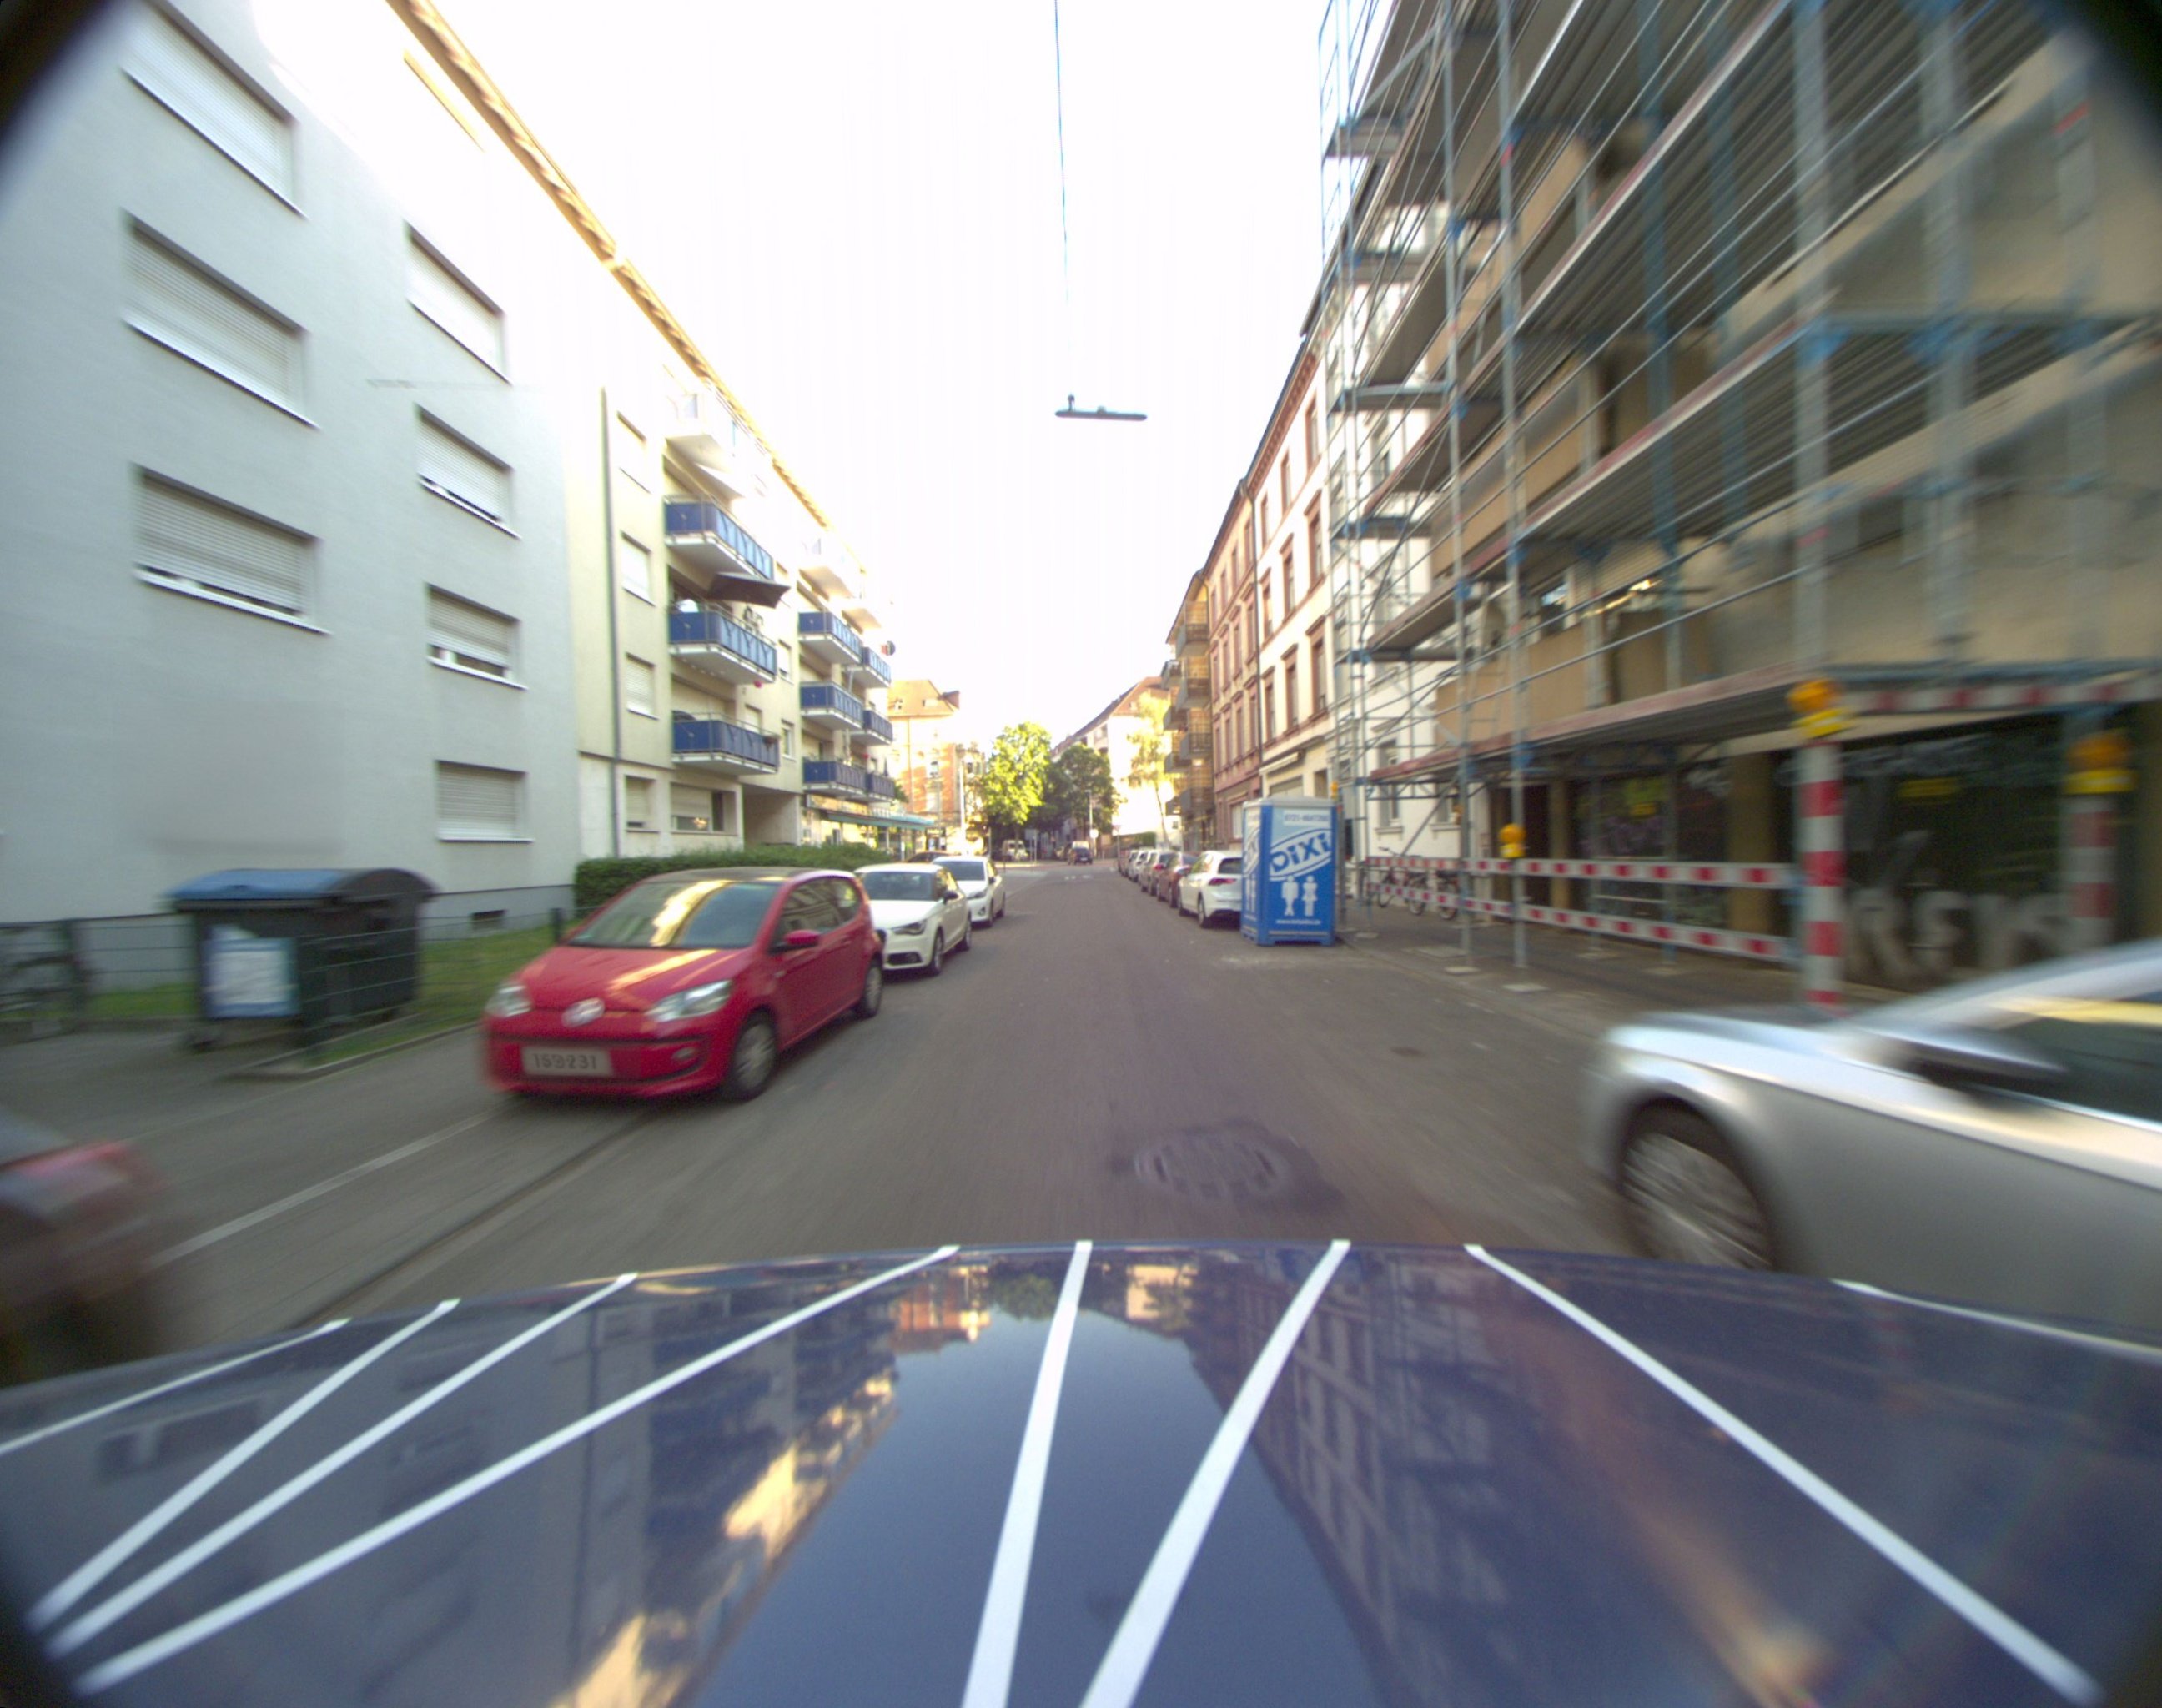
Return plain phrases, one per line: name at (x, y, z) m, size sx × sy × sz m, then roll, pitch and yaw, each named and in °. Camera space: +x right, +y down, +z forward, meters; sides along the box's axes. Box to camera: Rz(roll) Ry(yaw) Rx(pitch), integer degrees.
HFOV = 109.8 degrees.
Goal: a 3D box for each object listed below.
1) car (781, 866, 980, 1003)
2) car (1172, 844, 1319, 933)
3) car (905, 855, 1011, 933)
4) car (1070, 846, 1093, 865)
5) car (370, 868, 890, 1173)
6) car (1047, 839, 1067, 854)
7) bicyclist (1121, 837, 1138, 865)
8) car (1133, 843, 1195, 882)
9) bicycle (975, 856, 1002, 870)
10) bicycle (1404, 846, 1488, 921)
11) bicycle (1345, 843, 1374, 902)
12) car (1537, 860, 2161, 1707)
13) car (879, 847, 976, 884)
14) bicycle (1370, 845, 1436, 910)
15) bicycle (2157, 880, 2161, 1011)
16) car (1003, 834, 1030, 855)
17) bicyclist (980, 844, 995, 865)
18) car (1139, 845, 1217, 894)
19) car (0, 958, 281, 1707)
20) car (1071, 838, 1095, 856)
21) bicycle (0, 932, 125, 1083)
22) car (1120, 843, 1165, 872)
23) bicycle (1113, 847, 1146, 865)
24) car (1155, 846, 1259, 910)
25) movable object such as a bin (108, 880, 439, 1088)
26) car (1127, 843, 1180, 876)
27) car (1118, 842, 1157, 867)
car at (-2.584, 0.967, 10.824) m, size 1.680 × 1.411 × 4.135 m, roll -1°, pitch 1°, yaw 0°
car at (3.115, 0.567, 15.266) m, size 1.999 × 1.496 × 3.998 m, roll -1°, pitch 1°, yaw -1°
car at (-2.609, 0.788, 17.010) m, size 1.681 × 1.411 × 4.135 m, roll -1°, pitch 1°, yaw 0°
car at (0.025, 0.101, 64.158) m, size 1.829 × 1.496 × 3.998 m, roll -1°, pitch 1°, yaw -2°
car at (-2.875, 0.932, 5.883) m, size 1.680 × 1.475 × 3.652 m, roll -1°, pitch 1°, yaw 3°
car at (-3.001, -0.998, 94.135) m, size 2.081 × 1.760 × 4.214 m, roll -1°, pitch 1°, yaw -8°
bicyclist at (3.151, -0.204, 49.503) m, size 1.097 × 1.792 × 0.567 m, roll -1°, pitch 2°, yaw -1°
car at (3.301, 0.305, 30.827) m, size 1.999 × 1.424 × 3.998 m, roll -1°, pitch 1°, yaw -1°
bicycle at (-7.672, 0.740, 62.936) m, size 2.110 × 1.162 × 0.725 m, roll -1°, pitch 2°, yaw -24°
bicycle at (6.276, 0.465, 13.161) m, size 0.442 × 1.162 × 1.815 m, roll -5°, pitch 2°, yaw -2°
bicycle at (6.261, 0.392, 17.129) m, size 0.490 × 1.162 × 1.683 m, roll -5°, pitch 2°, yaw 19°
car at (2.815, 0.827, 0.712) m, size 1.927 × 1.480 × 4.615 m, roll -1°, pitch 1°, yaw -1°
car at (-6.878, 0.511, 34.476) m, size 3.998 × 1.556 × 1.999 m, roll -1°, pitch 1°, yaw -2°
bicycle at (6.357, 0.423, 15.093) m, size 0.405 × 1.162 × 1.815 m, roll -5°, pitch 2°, yaw -2°
bicycle at (6.144, 0.723, 3.260) m, size 0.405 × 1.162 × 1.815 m, roll -5°, pitch 2°, yaw -2°
car at (-7.443, -1.082, 86.908) m, size 2.163 × 2.270 × 6.200 m, roll -1°, pitch 1°, yaw -13°
bicyclist at (-7.733, 0.046, 62.910) m, size 0.974 × 1.663 × 0.799 m, roll -2°, pitch 2°, yaw -24°
car at (3.153, 0.450, 25.408) m, size 1.999 × 1.424 × 3.998 m, roll -1°, pitch 1°, yaw -1°
car at (-2.945, 1.051, 0.131) m, size 1.680 × 1.475 × 3.651 m, roll -1°, pitch 1°, yaw 0°
car at (0.177, -0.726, 78.127) m, size 2.081 × 1.760 × 4.214 m, roll -1°, pitch 1°, yaw -6°
bicycle at (-8.864, 1.272, 5.992) m, size 0.602 × 1.085 × 1.738 m, roll -1°, pitch 1°, yaw -10°
car at (3.294, 0.141, 41.404) m, size 1.999 × 1.462 × 3.998 m, roll -1°, pitch 1°, yaw -1°
bicycle at (3.169, 0.120, 49.523) m, size 2.106 × 1.162 × 0.567 m, roll -1°, pitch 2°, yaw -1°
car at (3.209, 0.551, 20.095) m, size 1.999 × 1.440 × 3.998 m, roll -1°, pitch 1°, yaw -1°
movable object such as a bin at (-6.376, 0.967, 6.125) m, size 1.287 × 1.428 × 1.223 m, roll -1°, pitch 1°, yaw 0°
car at (3.325, 0.212, 35.495) m, size 1.999 × 1.424 × 3.998 m, roll -1°, pitch 1°, yaw -1°
car at (3.462, -0.020, 47.114) m, size 1.999 × 1.462 × 3.845 m, roll -1°, pitch 1°, yaw -1°
